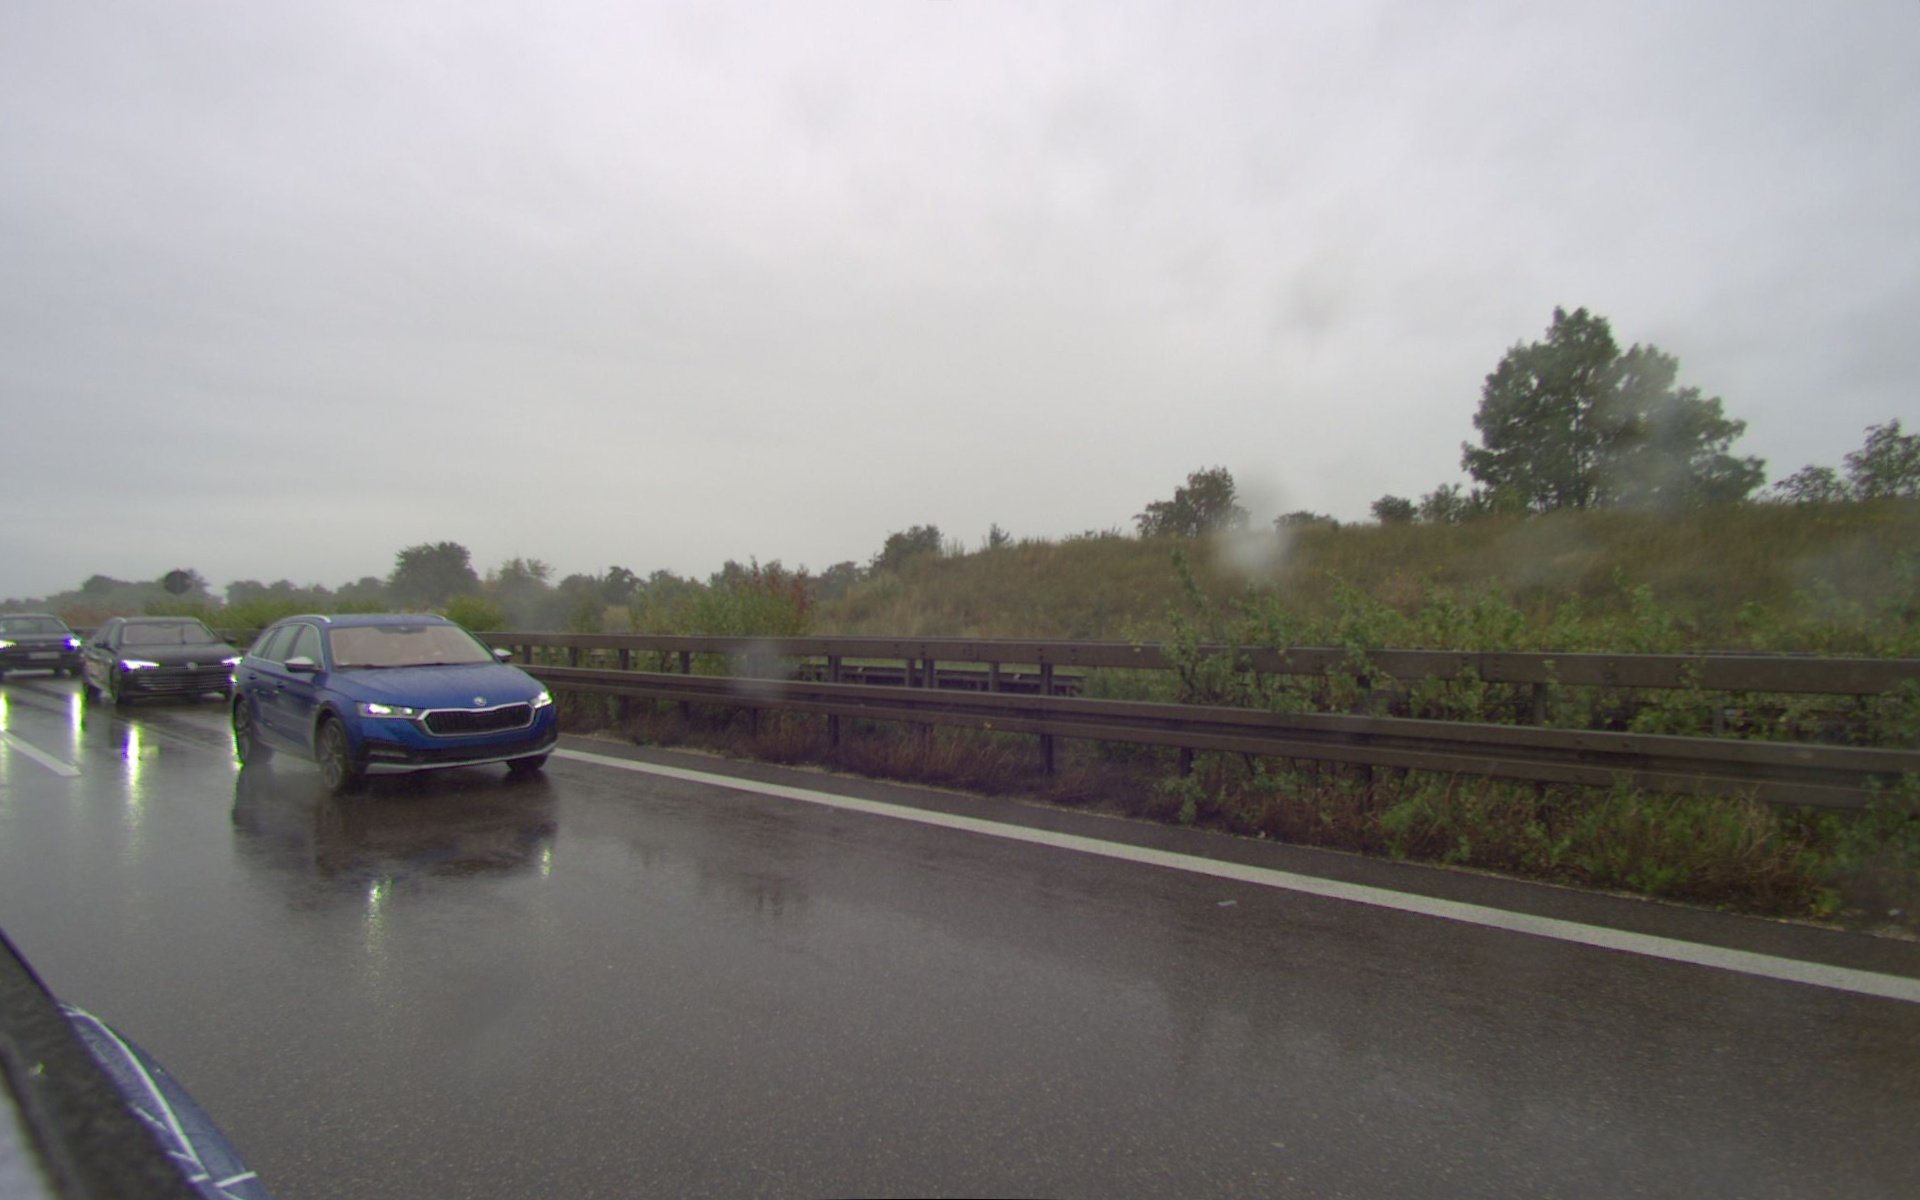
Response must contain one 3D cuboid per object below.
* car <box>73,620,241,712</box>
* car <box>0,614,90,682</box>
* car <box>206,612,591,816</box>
[{"bbox_3d":[-14.465,1.107,18.148,4.368,1.447,1.592,-1,-1,41],"label":"car"},{"bbox_3d":[-24.798,1.230,26.935,4.266,1.644,1.865,-1,-1,41],"label":"car"},{"bbox_3d":[-5.480,0.888,9.601,4.509,1.487,1.768,-1,-1,41],"label":"car"}]
